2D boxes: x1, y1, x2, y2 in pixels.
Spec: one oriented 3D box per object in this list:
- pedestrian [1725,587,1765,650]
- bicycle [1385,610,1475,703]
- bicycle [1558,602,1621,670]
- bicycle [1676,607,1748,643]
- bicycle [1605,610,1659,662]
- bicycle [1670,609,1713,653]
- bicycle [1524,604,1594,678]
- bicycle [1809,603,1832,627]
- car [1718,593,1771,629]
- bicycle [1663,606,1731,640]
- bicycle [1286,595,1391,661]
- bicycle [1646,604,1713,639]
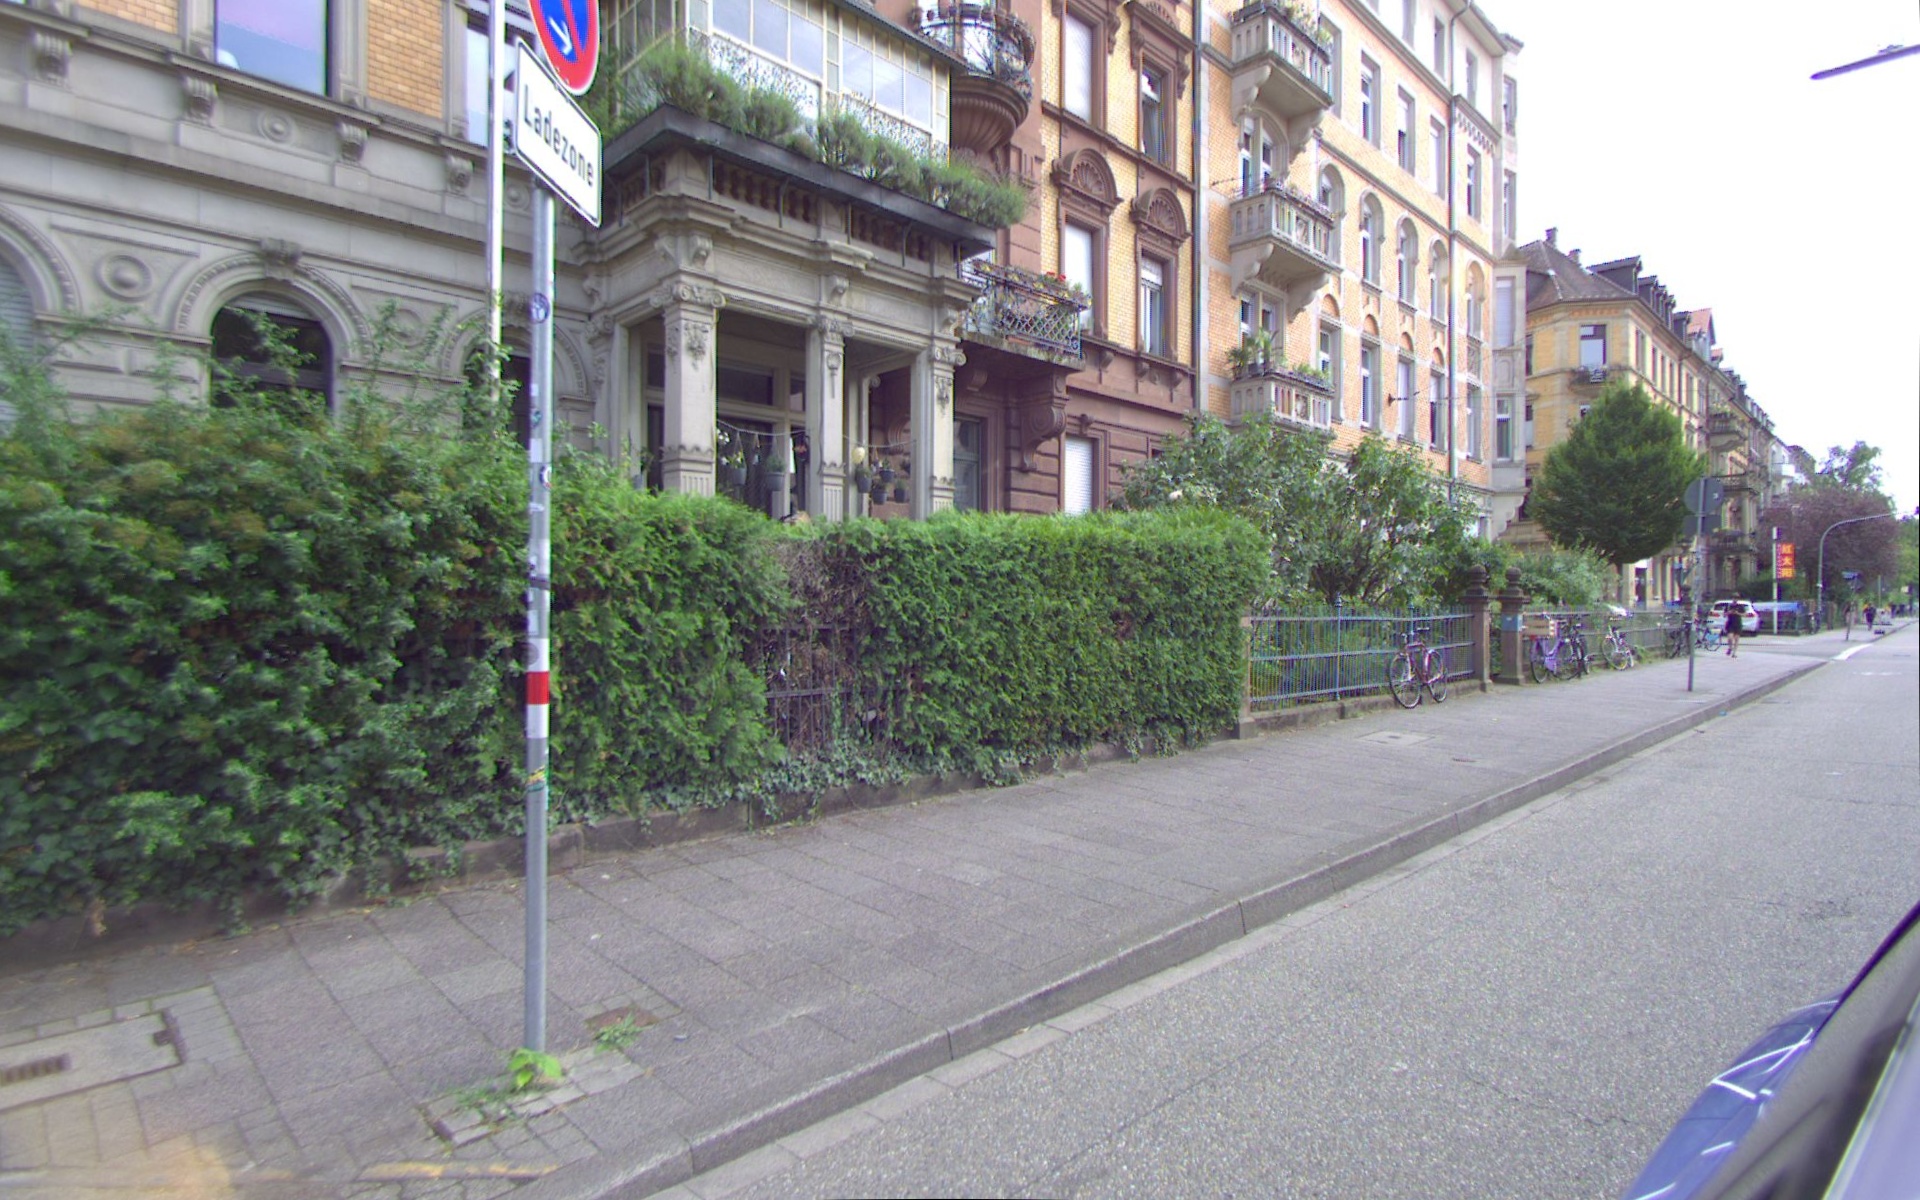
[{"bbox_3d":[20.769,0.474,26.782,0.822,1.644,0.731,0,0,-45],"label":"pedestrian"},{"bbox_3d":[6.256,0.714,13.424,0.579,1.126,1.645,0,0,44],"label":"bicycle"},{"bbox_3d":[11.463,0.630,18.412,0.579,1.125,1.645,5,4,44],"label":"bicycle"},{"bbox_3d":[24.021,0.801,32.333,1.838,1.127,0.631,0,0,-1],"label":"bicycle"},{"bbox_3d":[13.948,0.726,20.986,0.579,0.995,1.645,5,4,44],"label":"bicycle"},{"bbox_3d":[18.102,0.743,25.024,0.579,0.995,1.645,5,4,44],"label":"bicycle"},{"bbox_3d":[10.098,0.662,17.031,0.579,1.125,1.645,5,4,44],"label":"bicycle"},{"bbox_3d":[40.827,0.712,48.012,1.843,1.127,0.629,0,0,-44],"label":"bicycle"},{"bbox_3d":[35.274,0.466,45.450,1.749,1.544,3.942,0,0,40],"label":"car"},{"bbox_3d":[25.647,0.782,35.250,0.522,1.142,1.896,0,0,-27],"label":"bicycle"},{"bbox_3d":[6.788,0.482,18.214,1.667,1.126,0.602,1,0,45],"label":"bicycle"},{"bbox_3d":[24.685,0.723,34.750,0.521,1.142,1.897,0,0,-23],"label":"bicycle"}]
